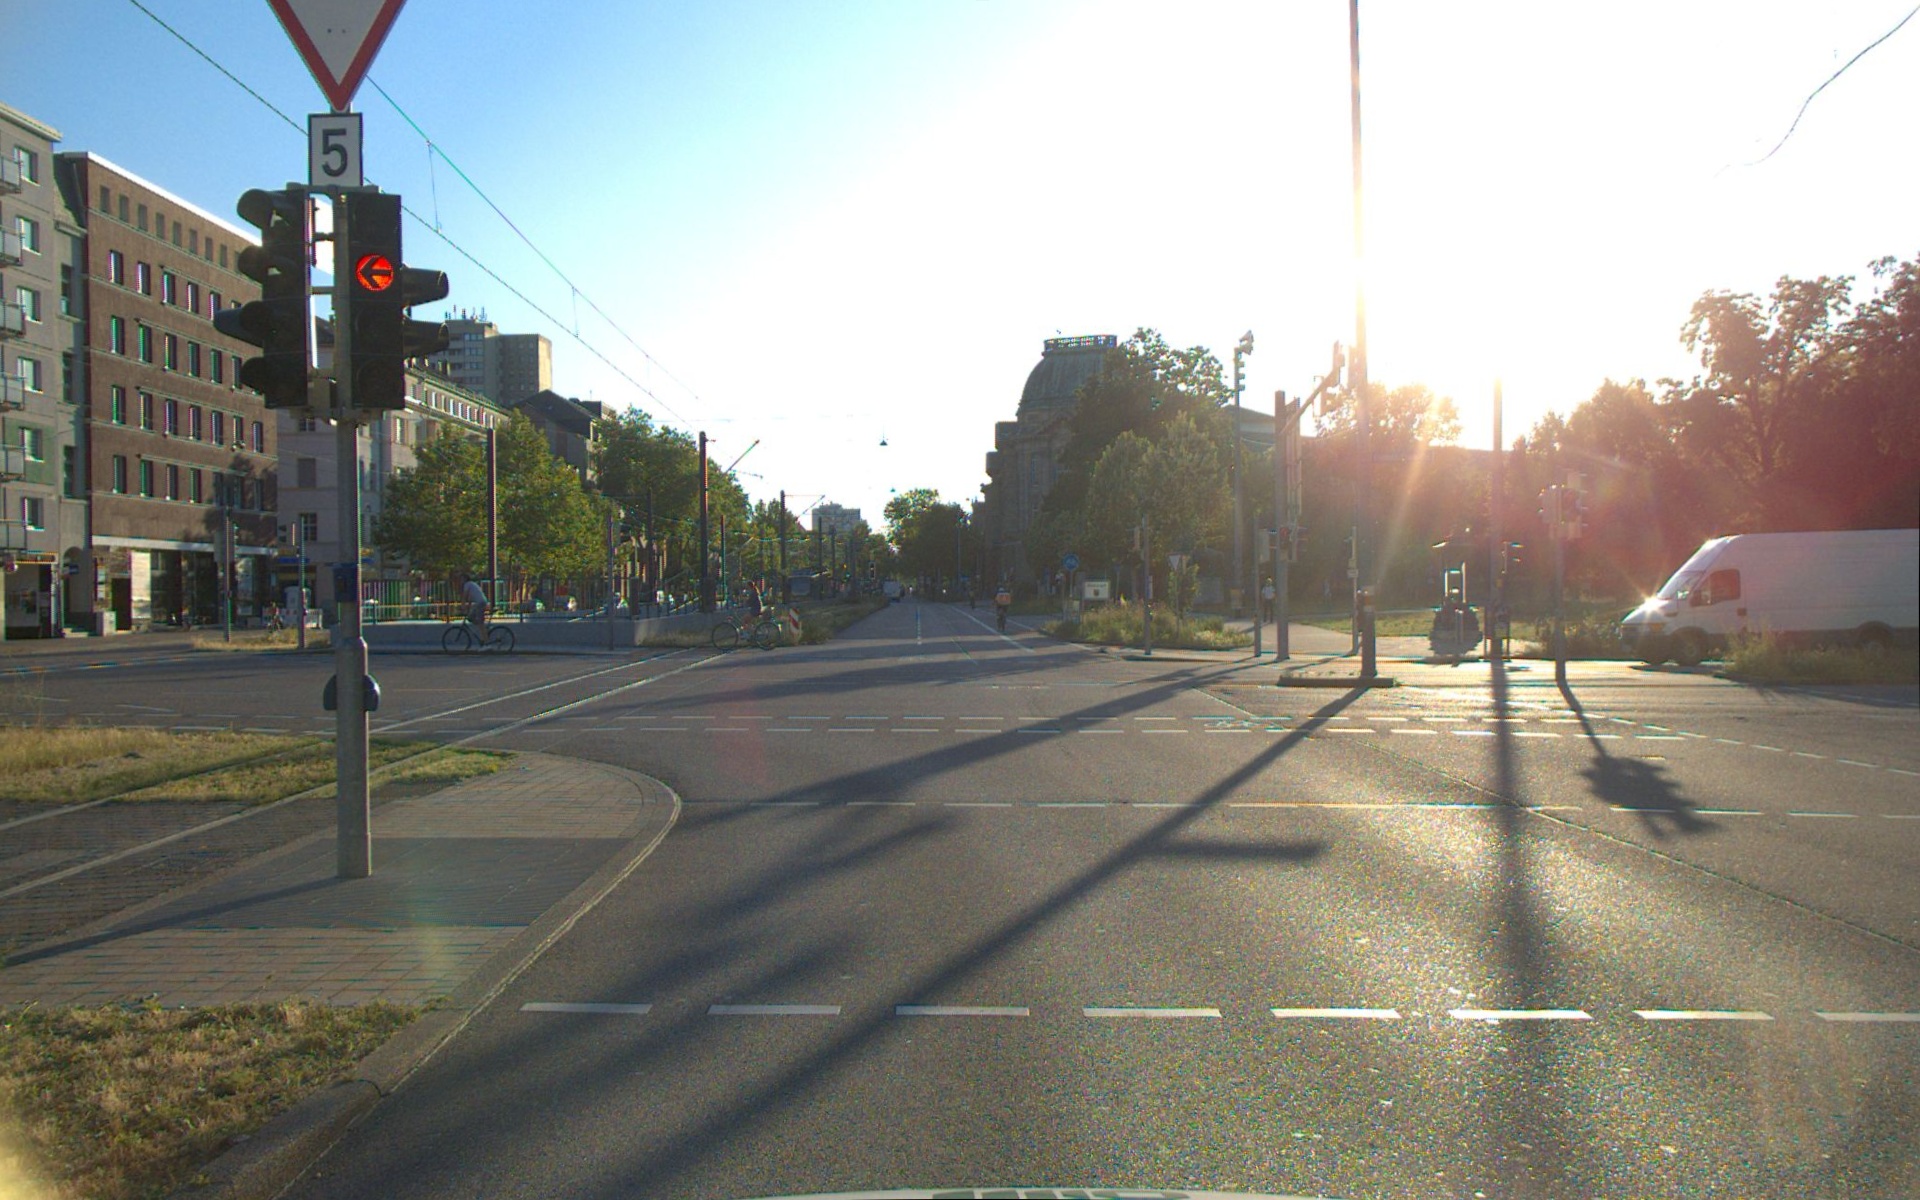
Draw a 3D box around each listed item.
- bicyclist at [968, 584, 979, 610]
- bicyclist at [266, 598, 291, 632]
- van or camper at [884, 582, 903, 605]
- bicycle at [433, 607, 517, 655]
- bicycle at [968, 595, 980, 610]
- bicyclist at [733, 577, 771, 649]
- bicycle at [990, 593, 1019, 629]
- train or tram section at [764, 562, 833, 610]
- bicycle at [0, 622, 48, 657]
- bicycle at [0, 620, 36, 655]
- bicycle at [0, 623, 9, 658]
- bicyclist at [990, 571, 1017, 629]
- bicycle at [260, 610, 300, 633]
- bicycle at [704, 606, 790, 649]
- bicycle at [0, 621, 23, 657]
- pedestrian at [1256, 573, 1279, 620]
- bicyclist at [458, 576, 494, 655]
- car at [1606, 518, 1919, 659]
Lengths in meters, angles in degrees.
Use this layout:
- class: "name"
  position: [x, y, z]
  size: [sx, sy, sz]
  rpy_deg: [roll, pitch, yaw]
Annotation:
- class: "bicyclist"
  position: [1.070, -0.269, 130.962]
  size: [0.907, 2.049, 0.850]
  rpy_deg: [0, 0, -1]
- class: "bicyclist"
  position: [-28.967, 0.638, 70.309]
  size: [0.489, 1.451, 0.857]
  rpy_deg: [-1, 0, 25]
- class: "van or camper"
  position: [-8.411, -0.785, 209.525]
  size: [2.400, 2.819, 5.598]
  rpy_deg: [-1, 0, -3]
- class: "bicycle"
  position: [-11.517, 0.737, 39.296]
  size: [1.869, 1.094, 0.630]
  rpy_deg: [-1, 0, -15]
- class: "bicycle"
  position: [1.094, 0.202, 130.918]
  size: [0.905, 1.131, 2.332]
  rpy_deg: [-1, 0, -1]
- class: "bicyclist"
  position: [-5.381, 0.339, 42.745]
  size: [0.857, 1.850, 0.538]
  rpy_deg: [-1, 0, 4]
- class: "bicycle"
  position: [1.799, 0.446, 67.724]
  size: [1.075, 1.423, 2.831]
  rpy_deg: [-1, 0, -1]
- class: "train or tram section"
  position: [-14.353, -1.322, 148.429]
  size: [4.294, 3.916, 11.418]
  rpy_deg: [-1, 2, 4]
- class: "bicycle"
  position: [-32.859, 1.374, 57.740]
  size: [1.655, 1.164, 0.697]
  rpy_deg: [-1, 0, 1]
- class: "bicycle"
  position: [-32.875, 1.291, 57.008]
  size: [1.655, 1.190, 0.748]
  rpy_deg: [-1, 0, 1]
- class: "bicycle"
  position: [-32.929, 1.363, 55.477]
  size: [1.655, 1.173, 0.705]
  rpy_deg: [-1, 0, 1]
- class: "bicyclist"
  position: [1.792, -0.002, 67.708]
  size: [1.060, 2.316, 0.986]
  rpy_deg: [0, 0, -1]
- class: "bicycle"
  position: [-28.931, 0.914, 70.387]
  size: [0.497, 0.961, 1.667]
  rpy_deg: [-1, 0, 24]
- class: "bicycle"
  position: [-5.499, 0.718, 42.758]
  size: [2.118, 1.102, 0.539]
  rpy_deg: [0, -1, 5]
- class: "bicycle"
  position: [-32.917, 1.339, 56.232]
  size: [1.655, 1.199, 0.748]
  rpy_deg: [-1, 0, 1]
- class: "pedestrian"
  position: [12.099, -0.154, 64.991]
  size: [0.815, 1.835, 0.811]
  rpy_deg: [-1, 0, 14]
- class: "bicyclist"
  position: [-11.497, 0.357, 39.287]
  size: [0.779, 1.850, 0.644]
  rpy_deg: [-1, 0, -14]
- class: "car"
  position: [17.815, -0.254, 35.767]
  size: [6.866, 2.877, 2.093]
  rpy_deg: [-1, 0, 1]
